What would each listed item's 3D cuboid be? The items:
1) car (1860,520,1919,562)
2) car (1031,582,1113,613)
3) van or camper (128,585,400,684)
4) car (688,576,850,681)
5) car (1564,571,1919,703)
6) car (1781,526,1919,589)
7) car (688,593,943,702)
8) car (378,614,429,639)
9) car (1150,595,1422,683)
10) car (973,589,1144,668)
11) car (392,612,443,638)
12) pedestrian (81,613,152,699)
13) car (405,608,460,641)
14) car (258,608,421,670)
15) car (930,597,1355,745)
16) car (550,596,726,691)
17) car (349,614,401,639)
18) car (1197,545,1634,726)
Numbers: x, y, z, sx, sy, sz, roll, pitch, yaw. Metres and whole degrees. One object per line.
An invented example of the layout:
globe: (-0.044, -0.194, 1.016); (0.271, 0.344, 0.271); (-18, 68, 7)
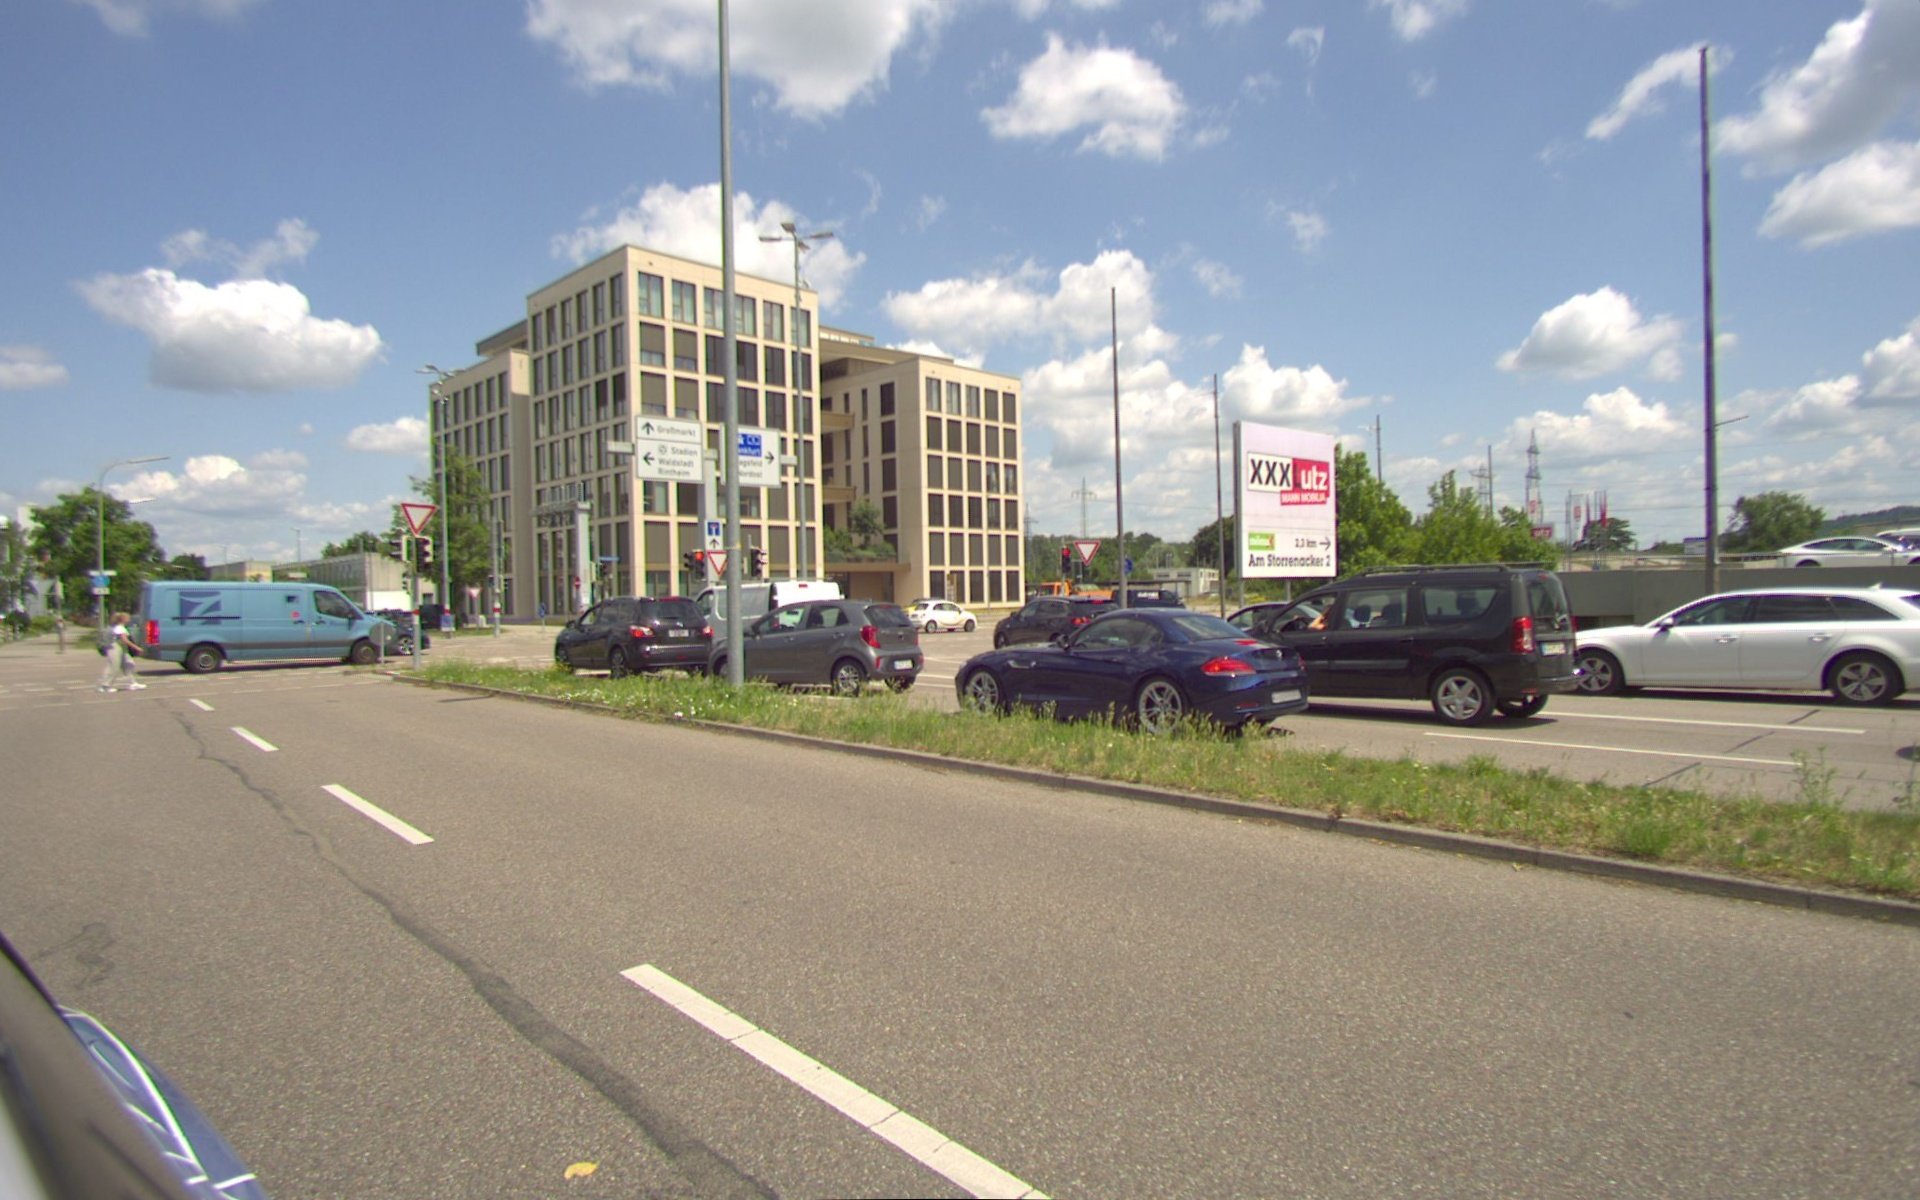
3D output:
car: (45.829, -2.861, 48.528); (3.835, 1.847, 1.829); (-3, -1, 45)
car: (9.475, -0.202, 85.269); (6.426, 2.346, 2.861); (-1, -3, -34)
van or camper: (-18.589, 0.818, 27.304); (2.001, 2.399, 5.766); (0, 0, 44)
car: (-4.170, 0.608, 21.795); (1.834, 2.059, 3.581); (-1, -2, -41)
car: (10.469, 0.457, 12.970); (1.599, 1.484, 4.364); (-1, -2, -41)
car: (29.967, -1.371, 33.061); (1.829, 1.847, 4.676); (-1, -1, -45)
car: (-2.360, 0.769, 16.409); (3.753, 1.572, 1.780); (-3, -1, 29)
car: (-41.069, 1.913, 74.751); (1.834, 1.741, 4.188); (-1, 0, -7)
car: (5.863, 0.718, 18.698); (1.599, 1.402, 4.590); (-1, -2, -40)
car: (2.294, 0.701, 24.301); (1.770, 1.714, 3.875); (-1, -2, -42)
car: (-38.618, 1.739, 72.138); (1.834, 1.741, 4.188); (-1, 0, -7)
pedestrian: (-17.094, 1.128, 20.513); (0.969, 1.664, 0.831); (-2, -1, 32)
car: (-35.983, 1.631, 69.168); (2.109, 2.107, 4.031); (-1, 0, -8)
car: (-19.483, 1.185, 31.871); (4.118, 1.741, 1.865); (-1, 0, -42)
car: (1.762, 0.700, 10.955); (1.770, 1.260, 4.312); (-1, -2, -42)
car: (-6.410, 0.841, 19.864); (1.769, 1.657, 4.176); (-1, -2, -41)
car: (-43.513, 1.939, 75.366); (1.834, 1.741, 4.188); (-1, 0, -7)
car: (5.076, 0.407, 11.759); (1.770, 1.714, 4.232); (-1, -2, -42)
